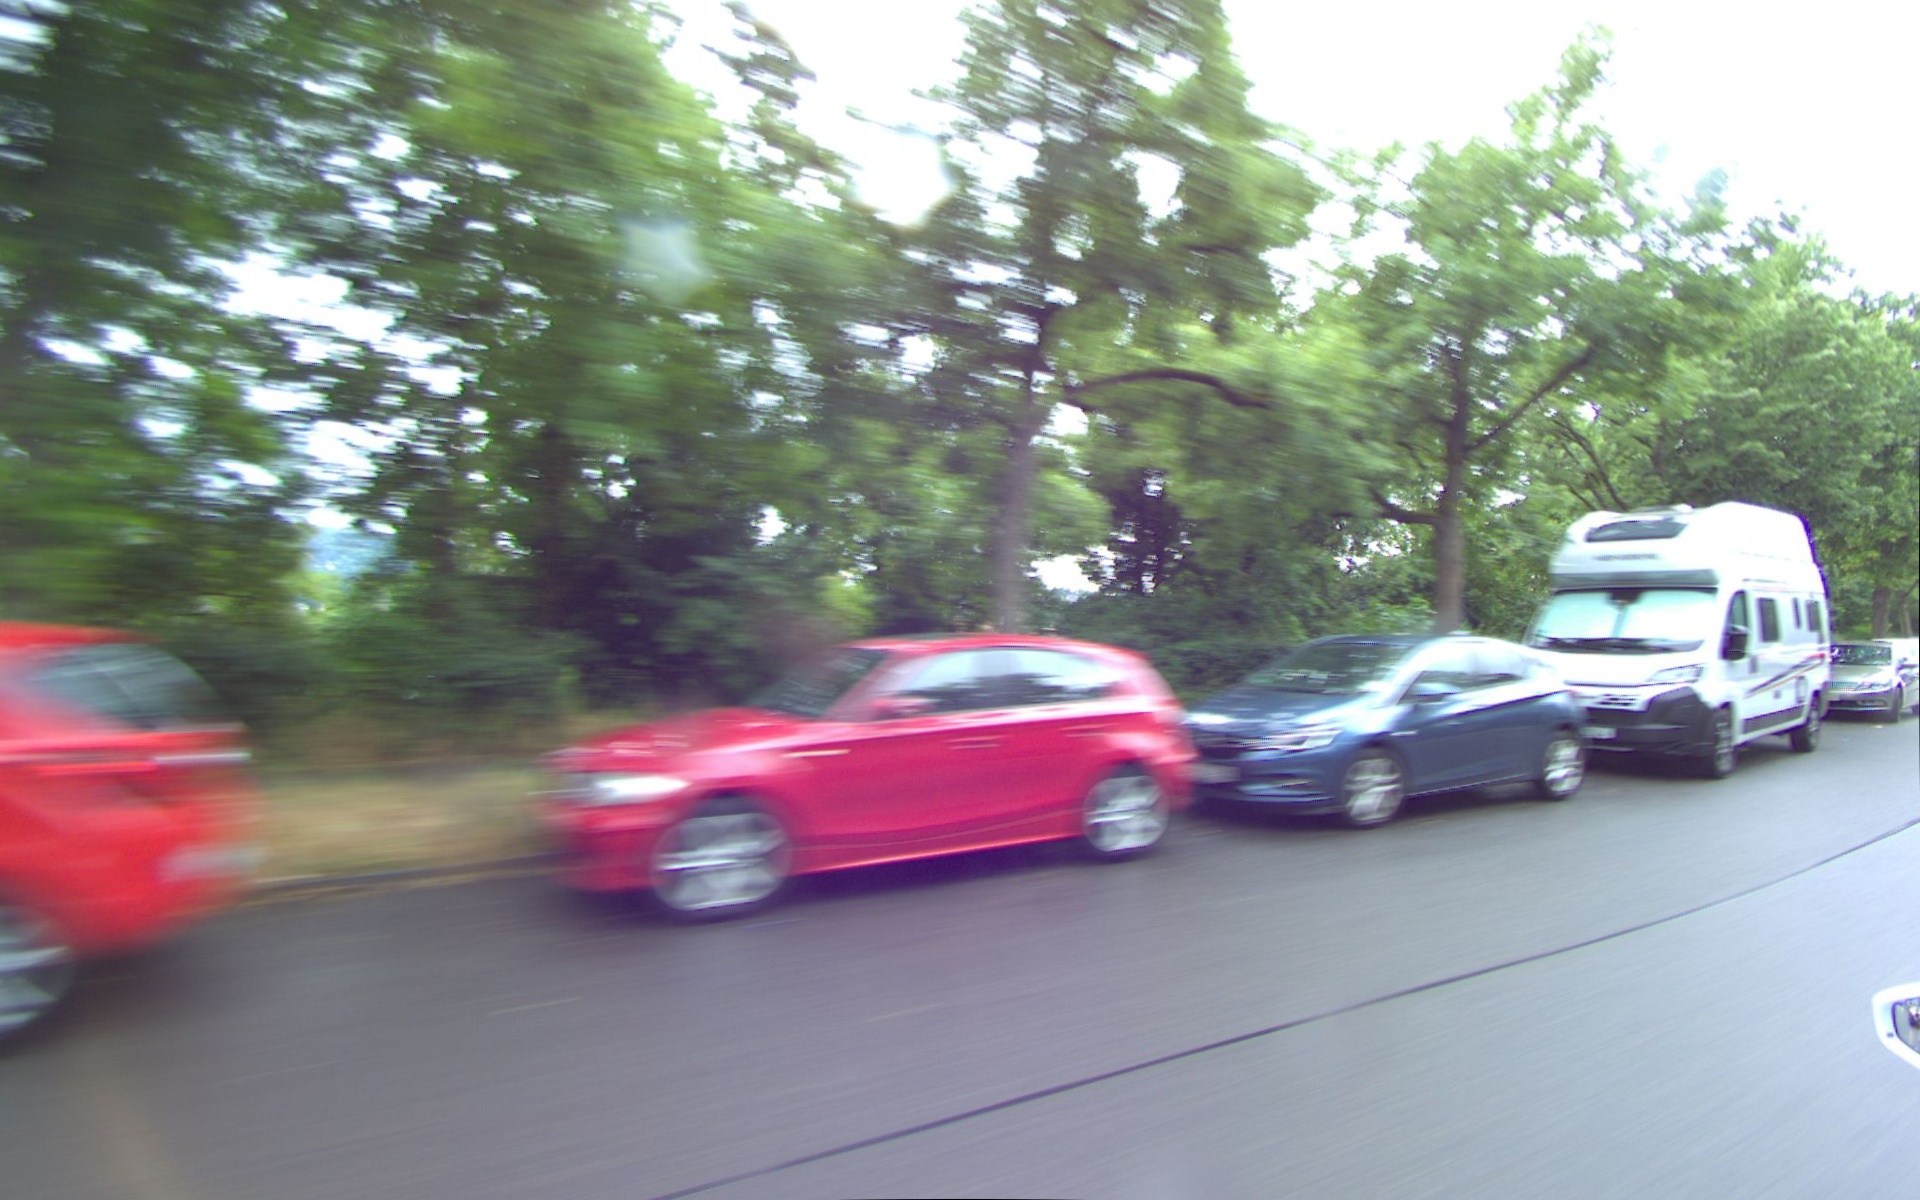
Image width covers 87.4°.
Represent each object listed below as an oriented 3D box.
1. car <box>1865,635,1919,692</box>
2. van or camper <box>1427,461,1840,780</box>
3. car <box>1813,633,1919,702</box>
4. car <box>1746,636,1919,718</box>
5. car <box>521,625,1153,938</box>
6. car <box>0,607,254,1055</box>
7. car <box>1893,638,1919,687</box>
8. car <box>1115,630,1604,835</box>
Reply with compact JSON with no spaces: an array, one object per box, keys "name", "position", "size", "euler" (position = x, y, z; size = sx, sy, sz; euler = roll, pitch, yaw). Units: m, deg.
[{"name":"car","position":[25.785,1.673,26.556],"size":[4.671,1.423,1.979],"euler":[3,-2,-38]},{"name":"van or camper","position":[8.733,0.374,12.716],"size":[6.507,3.066,2.486],"euler":[3,-5,-40]},{"name":"car","position":[21.986,1.523,23.563],"size":[4.668,1.424,1.980],"euler":[1,-1,-36]},{"name":"car","position":[17.201,1.390,19.421],"size":[5.308,1.326,1.978],"euler":[1,-2,-39]},{"name":"car","position":[-0.758,0.910,6.354],"size":[3.503,1.426,1.945],"euler":[1,-3,-30]},{"name":"car","position":[-5.269,0.765,3.330],"size":[4.517,1.480,1.947],"euler":[1,-3,-28]},{"name":"car","position":[29.886,1.886,30.202],"size":[4.671,1.423,1.979],"euler":[3,-2,-38]},{"name":"car","position":[3.610,1.015,8.944],"size":[4.160,1.426,1.945],"euler":[2,-3,-31]}]
